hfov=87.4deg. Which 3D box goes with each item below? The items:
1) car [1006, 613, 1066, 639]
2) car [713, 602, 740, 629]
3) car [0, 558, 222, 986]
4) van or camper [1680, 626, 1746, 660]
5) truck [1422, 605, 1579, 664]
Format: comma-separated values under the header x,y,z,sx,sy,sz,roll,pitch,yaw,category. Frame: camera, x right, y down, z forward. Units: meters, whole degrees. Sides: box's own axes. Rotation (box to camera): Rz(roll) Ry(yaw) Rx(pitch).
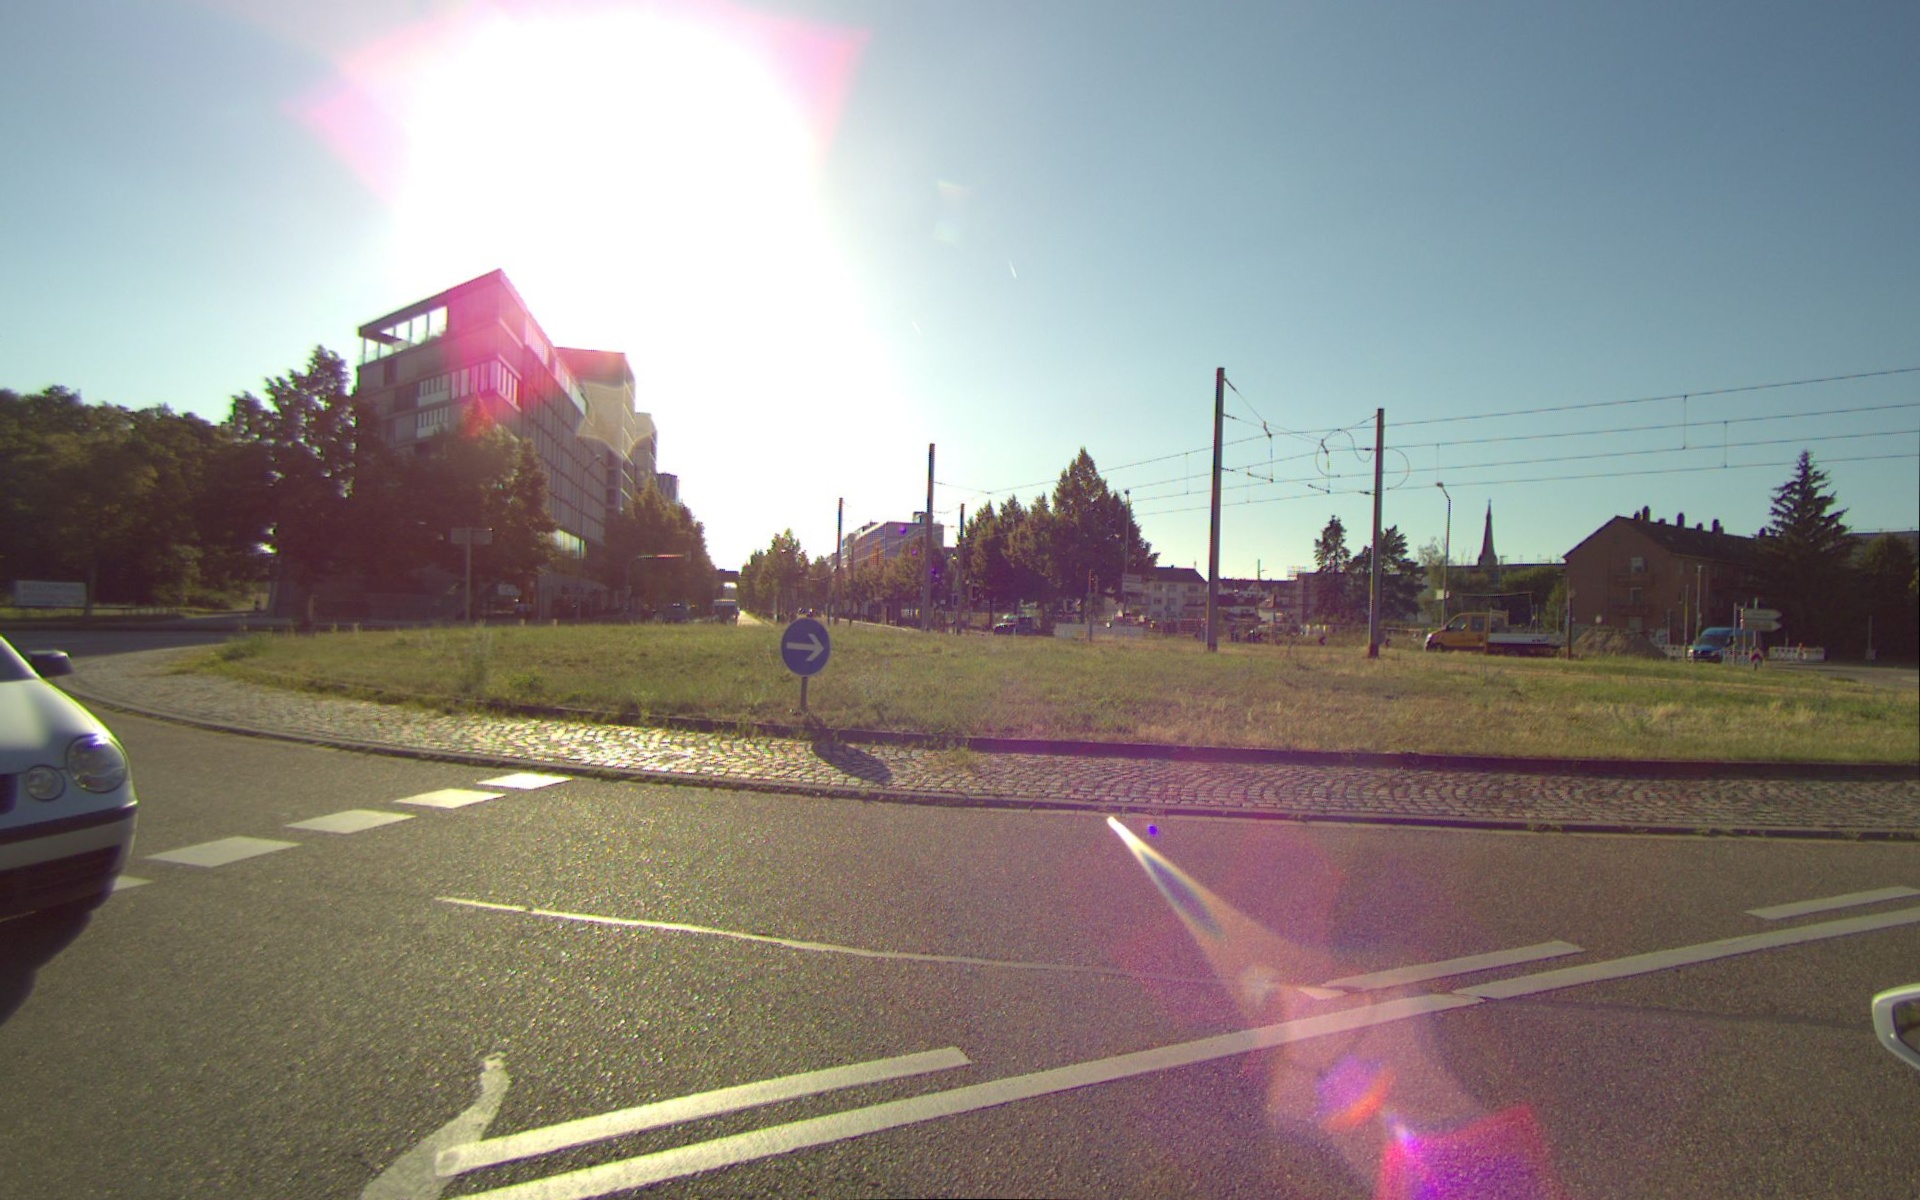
x,y,z,sx,sy,sz,roll,pitch,yaw,category
5.474,1.886,72.275,3.953,1.781,1.919,2,-1,-30,car
-18.822,1.219,80.944,1.967,2.040,3.988,2,-1,-15,car
-4.963,0.547,4.139,3.693,1.453,1.832,1,-1,32,car
51.476,2.946,68.678,4.372,2.183,2.083,2,-1,-30,van or camper
26.010,1.616,48.587,2.566,2.592,6.184,2,-1,-38,truck
